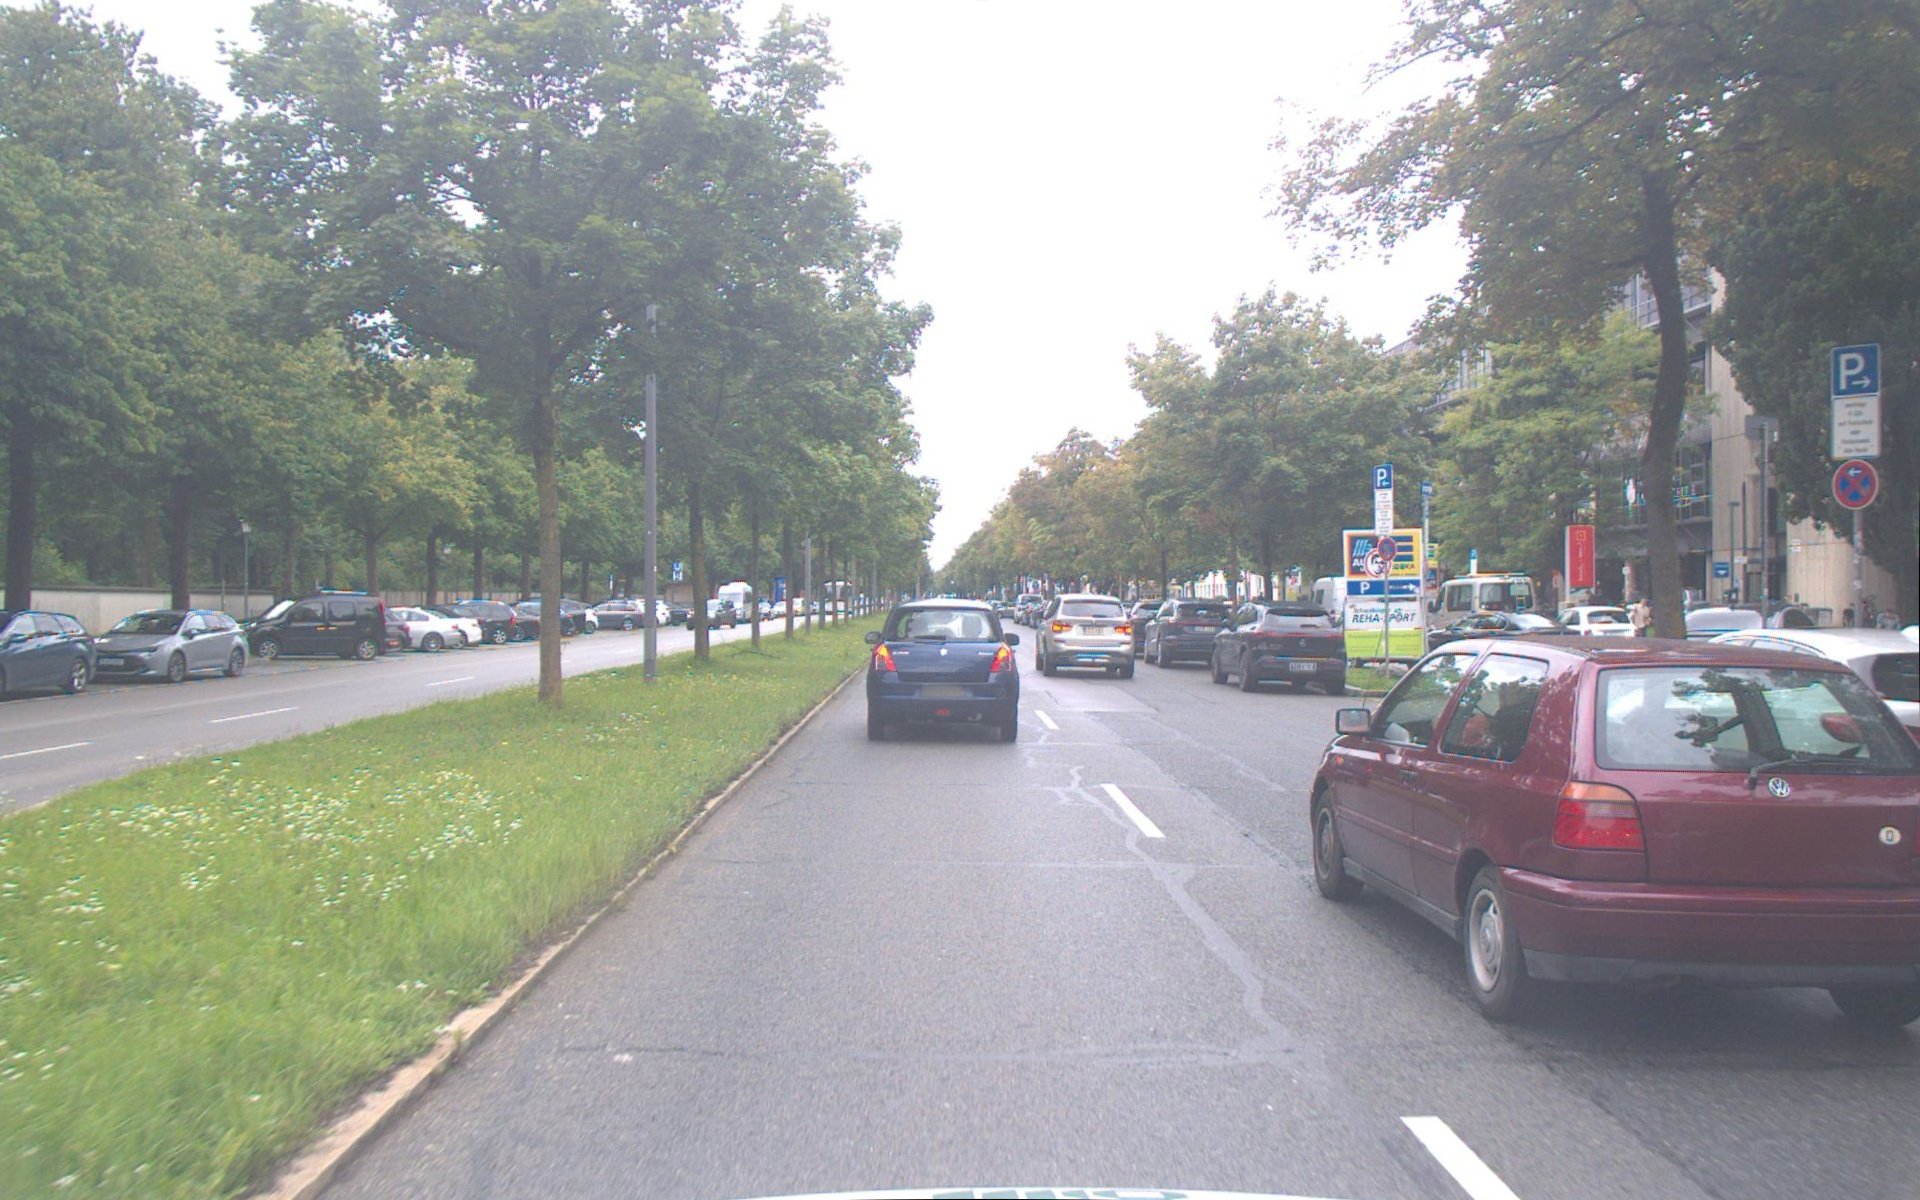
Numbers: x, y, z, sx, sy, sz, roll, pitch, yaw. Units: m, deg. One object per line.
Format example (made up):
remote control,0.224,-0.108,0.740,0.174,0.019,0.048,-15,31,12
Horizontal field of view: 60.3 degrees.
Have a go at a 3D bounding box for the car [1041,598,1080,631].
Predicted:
car,4.984,0.683,82.464,1.650,1.552,4.455,1,0,0

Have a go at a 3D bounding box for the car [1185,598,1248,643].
car,9.413,0.720,60.949,1.650,1.613,4.009,0,0,0

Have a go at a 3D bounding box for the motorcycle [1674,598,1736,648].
motorcycle,20.790,0.634,46.200,0.682,1.313,2.066,-4,0,-1

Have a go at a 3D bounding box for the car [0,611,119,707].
car,-16.291,0.969,28.208,1.554,1.484,4.797,1,0,-2

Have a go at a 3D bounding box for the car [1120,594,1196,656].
car,5.576,0.670,46.956,1.686,1.680,4.389,0,0,1

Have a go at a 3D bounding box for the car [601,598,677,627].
car,-19.289,0.732,99.389,4.059,1.681,1.896,0,0,-35

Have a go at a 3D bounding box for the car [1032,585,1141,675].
car,2.589,0.591,34.668,1.813,1.773,4.096,0,0,-2

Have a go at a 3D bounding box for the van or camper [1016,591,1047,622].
van or camper,4.744,0.442,110.104,1.905,2.009,4.306,0,0,0

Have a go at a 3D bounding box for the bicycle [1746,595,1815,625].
bicycle,27.788,0.335,56.029,2.007,0.975,0.743,0,0,37

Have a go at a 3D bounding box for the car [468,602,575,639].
car,-18.763,0.865,70.775,4.059,1.495,1.896,0,0,-35

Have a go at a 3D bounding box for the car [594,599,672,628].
car,-19.033,0.768,96.369,4.059,1.612,1.896,0,0,-35

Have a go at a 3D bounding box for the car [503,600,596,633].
car,-19.857,0.771,80.008,4.054,1.527,1.899,0,0,-32

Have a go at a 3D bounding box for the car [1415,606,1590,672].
car,13.137,0.908,40.385,1.657,1.479,4.817,0,0,-16

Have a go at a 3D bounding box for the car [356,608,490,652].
car,-18.105,0.993,55.834,3.999,1.405,1.653,0,0,-37

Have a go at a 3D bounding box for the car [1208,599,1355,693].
car,5.872,0.783,30.698,1.726,1.617,4.451,0,0,-2

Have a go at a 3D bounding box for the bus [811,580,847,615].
bus,-13.744,-0.295,174.244,2.682,3.436,12.012,-2,0,0

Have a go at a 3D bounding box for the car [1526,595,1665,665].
car,16.033,0.720,41.939,1.953,1.680,4.000,0,0,-1

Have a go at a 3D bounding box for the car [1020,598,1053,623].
car,4.791,0.645,103.663,1.651,1.581,4.303,0,0,-3

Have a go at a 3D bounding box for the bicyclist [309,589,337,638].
bicyclist,-23.495,0.502,61.021,0.690,1.777,0.922,0,0,-1

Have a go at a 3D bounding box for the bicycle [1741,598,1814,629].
bicycle,26.560,0.422,53.733,2.012,0.975,0.741,0,0,44

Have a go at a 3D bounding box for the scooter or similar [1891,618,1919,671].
scooter or similar,19.497,0.893,33.736,0.490,1.036,0.832,-2,0,-1

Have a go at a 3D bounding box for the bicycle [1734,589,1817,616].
bicycle,27.106,0.082,54.987,2.362,0.885,0.766,0,0,44

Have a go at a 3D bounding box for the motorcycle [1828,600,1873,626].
motorcycle,30.352,0.445,56.381,0.834,0.881,1.569,0,0,6

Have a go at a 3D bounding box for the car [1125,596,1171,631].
car,9.255,0.636,81.747,1.650,1.661,4.779,0,0,-1

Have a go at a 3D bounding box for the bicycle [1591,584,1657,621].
bicycle,27.614,0.102,68.788,2.566,1.534,0.795,0,0,-15

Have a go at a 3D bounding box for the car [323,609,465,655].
car,-17.983,0.980,52.605,3.955,1.378,1.828,0,0,-36

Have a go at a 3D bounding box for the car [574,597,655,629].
car,-19.359,0.718,92.655,4.059,1.725,1.896,0,0,-35

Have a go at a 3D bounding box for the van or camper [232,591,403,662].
van or camper,-17.843,0.711,46.044,4.089,1.887,1.822,0,0,-42

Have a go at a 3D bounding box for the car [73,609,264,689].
car,-16.312,0.960,34.359,1.602,1.464,4.809,1,0,0

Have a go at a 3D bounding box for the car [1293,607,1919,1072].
car,2.709,0.780,7.338,1.589,1.479,3.948,0,0,-1

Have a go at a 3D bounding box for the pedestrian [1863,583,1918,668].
pedestrian,19.474,0.526,34.631,0.527,1.751,0.987,-2,0,-1

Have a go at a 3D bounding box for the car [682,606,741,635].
car,-13.744,1.111,91.820,1.872,1.569,4.191,0,0,12

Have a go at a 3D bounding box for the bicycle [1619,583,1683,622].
bicycle,27.451,0.105,65.711,2.574,1.534,0.793,0,0,-23

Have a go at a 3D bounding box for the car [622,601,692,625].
car,-19.321,0.835,105.432,4.059,1.500,1.684,1,-1,-35

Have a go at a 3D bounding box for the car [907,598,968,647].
car,-0.752,0.666,51.950,1.813,1.472,4.096,0,0,-2

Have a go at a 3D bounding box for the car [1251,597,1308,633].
car,15.126,0.677,78.486,1.650,1.661,4.496,0,0,-2

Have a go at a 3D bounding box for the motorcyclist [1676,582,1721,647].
motorcyclist,20.760,0.397,46.511,0.677,1.767,0.953,-4,0,-1

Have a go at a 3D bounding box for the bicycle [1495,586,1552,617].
bicycle,27.810,0.077,81.614,2.560,1.534,0.797,0,0,-7

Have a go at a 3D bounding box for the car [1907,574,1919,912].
car,5.771,0.724,6.185,1.750,1.704,4.594,0,0,-2

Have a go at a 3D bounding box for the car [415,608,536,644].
car,-18.749,0.984,64.074,4.152,1.345,1.896,0,0,-35

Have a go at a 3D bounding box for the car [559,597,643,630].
car,-19.358,0.734,89.297,4.059,1.725,1.896,0,0,-35

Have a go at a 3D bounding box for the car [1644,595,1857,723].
car,11.582,0.778,24.056,1.935,1.653,4.827,1,0,36

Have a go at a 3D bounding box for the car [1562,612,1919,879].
car,5.873,0.830,11.552,1.620,1.459,4.481,0,0,-2

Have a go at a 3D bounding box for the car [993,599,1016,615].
car,3.953,0.610,148.423,1.813,1.472,4.096,0,0,-2

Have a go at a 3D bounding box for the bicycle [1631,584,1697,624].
bicycle,27.570,0.152,64.766,2.574,1.534,0.793,0,0,-23

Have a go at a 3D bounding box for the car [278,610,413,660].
car,-18.195,1.010,48.993,3.533,1.378,1.735,0,0,-31

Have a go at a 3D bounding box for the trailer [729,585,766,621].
trailer,-15.821,0.197,123.523,2.063,2.585,5.576,0,0,0

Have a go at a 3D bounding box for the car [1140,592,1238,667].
car,5.578,0.678,40.752,1.725,1.730,4.819,0,0,0

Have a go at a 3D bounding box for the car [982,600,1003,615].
car,3.206,0.719,162.257,1.813,1.472,4.096,0,0,-2

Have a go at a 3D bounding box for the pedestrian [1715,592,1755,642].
pedestrian,20.958,0.465,44.738,0.717,1.313,0.698,-3,-1,4

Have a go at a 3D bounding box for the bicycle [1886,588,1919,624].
bicycle,32.532,0.196,55.957,2.094,1.225,0.586,0,0,-3

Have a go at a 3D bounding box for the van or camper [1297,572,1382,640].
van or camper,15.232,0.212,66.712,1.983,2.602,5.956,0,0,0

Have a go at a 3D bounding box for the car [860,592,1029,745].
car,-0.239,0.709,19.190,1.753,1.583,3.998,0,0,-2

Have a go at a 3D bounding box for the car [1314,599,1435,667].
car,10.083,0.773,40.537,1.728,1.514,3.997,2,0,-3

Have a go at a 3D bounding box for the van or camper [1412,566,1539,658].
van or camper,15.533,0.333,50.183,1.953,2.602,5.956,0,0,0

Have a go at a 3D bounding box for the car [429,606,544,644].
car,-19.211,0.997,67.182,4.148,1.434,1.896,0,0,-35

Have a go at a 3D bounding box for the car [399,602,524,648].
car,-18.476,0.915,61.351,4.069,1.625,1.891,0,0,-40

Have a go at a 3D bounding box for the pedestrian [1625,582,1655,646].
pedestrian,19.138,0.388,46.559,0.563,1.782,0.732,0,0,4

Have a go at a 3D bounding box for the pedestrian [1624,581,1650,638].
pedestrian,21.478,0.306,52.474,0.563,1.782,0.732,0,0,4

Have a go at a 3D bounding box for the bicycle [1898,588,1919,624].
bicycle,32.586,0.198,55.332,2.094,1.225,0.586,0,0,-3
